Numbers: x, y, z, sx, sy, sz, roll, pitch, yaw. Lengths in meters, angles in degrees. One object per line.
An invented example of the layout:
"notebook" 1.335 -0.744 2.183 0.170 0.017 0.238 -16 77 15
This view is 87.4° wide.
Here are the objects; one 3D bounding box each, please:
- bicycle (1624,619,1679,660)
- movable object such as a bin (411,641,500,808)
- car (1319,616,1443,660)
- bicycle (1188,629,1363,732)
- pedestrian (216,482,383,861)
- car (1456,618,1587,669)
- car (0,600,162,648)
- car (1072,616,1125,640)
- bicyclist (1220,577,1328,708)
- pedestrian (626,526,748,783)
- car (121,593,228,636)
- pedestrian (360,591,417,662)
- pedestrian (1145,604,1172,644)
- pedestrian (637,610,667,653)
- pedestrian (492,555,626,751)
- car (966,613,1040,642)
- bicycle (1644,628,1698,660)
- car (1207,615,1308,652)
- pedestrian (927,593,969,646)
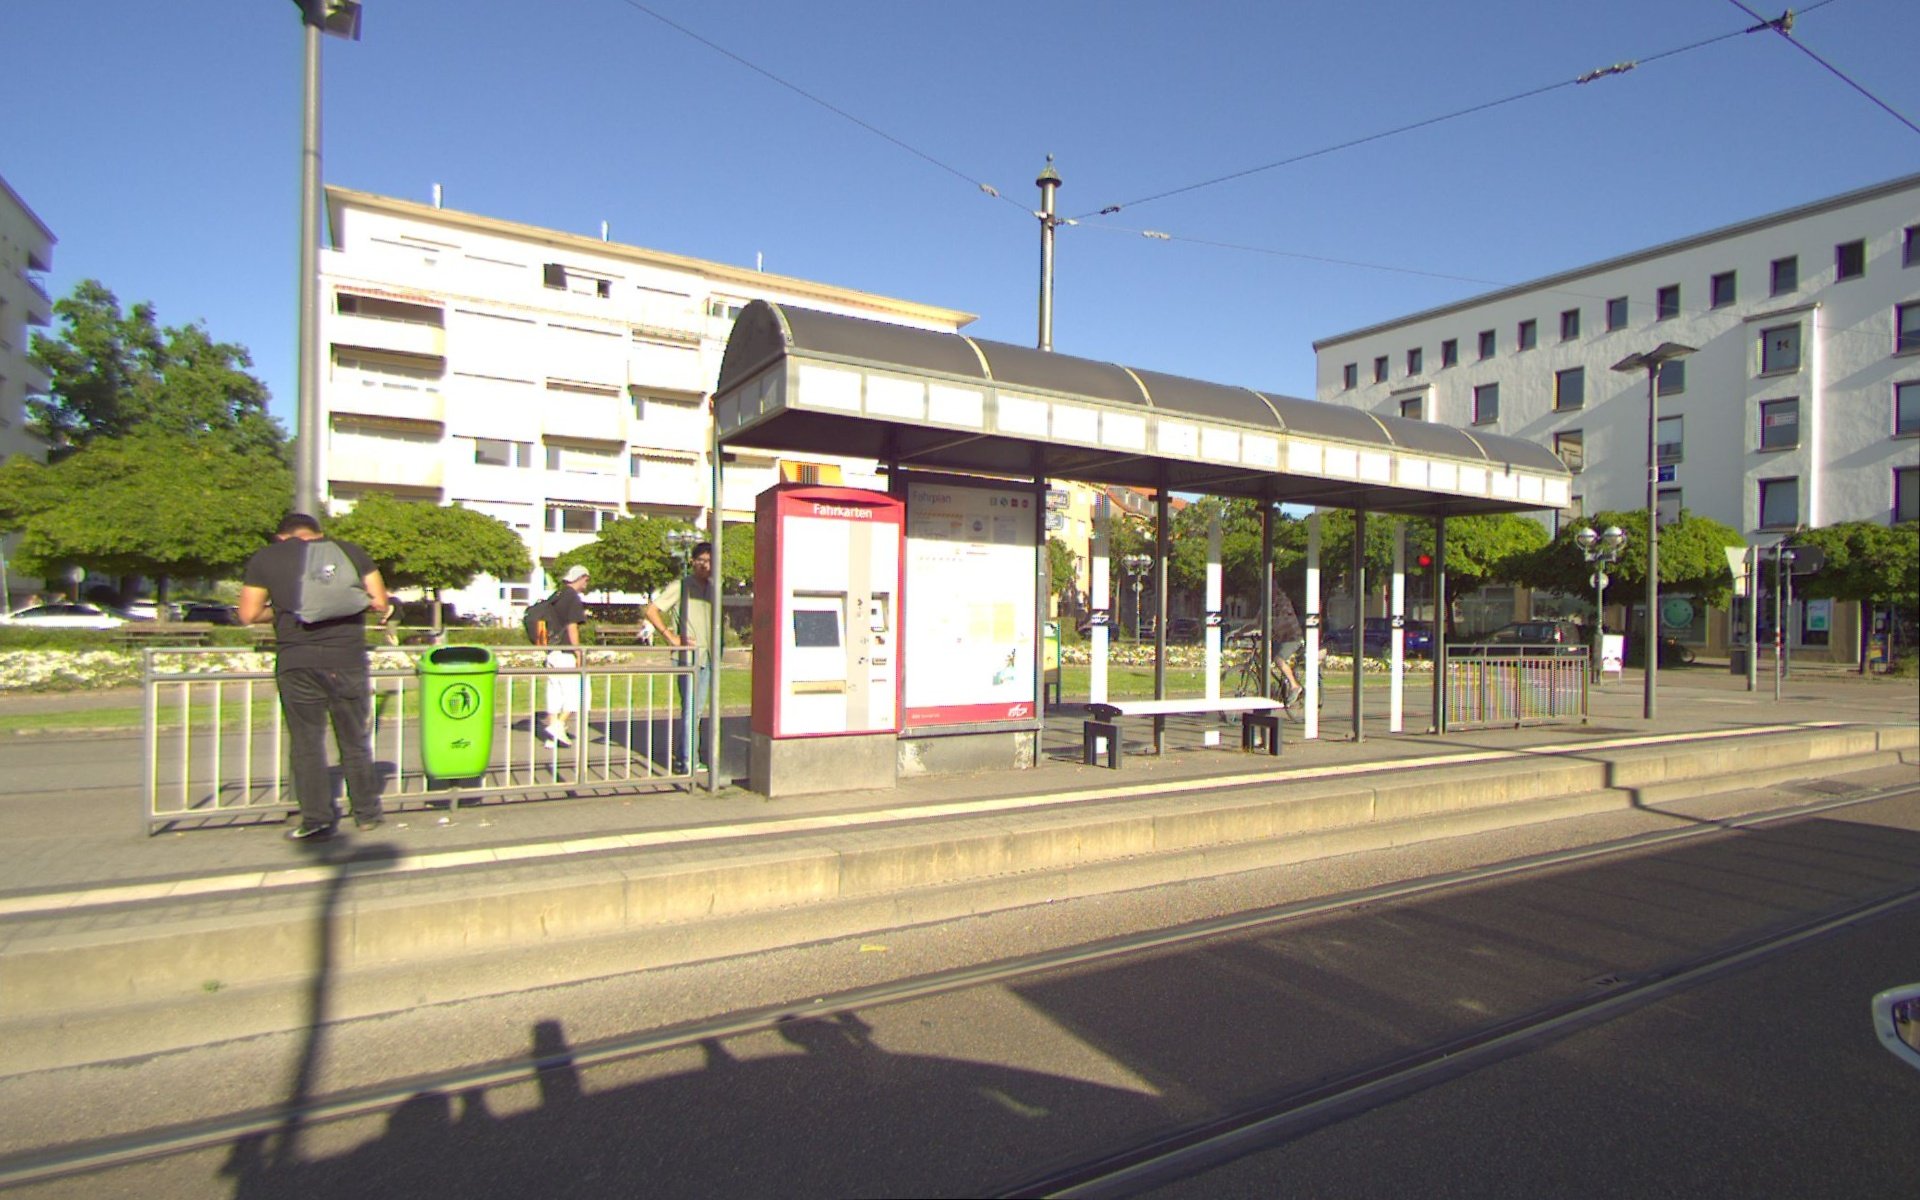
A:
"bicycle" 27.873 1.597 40.491 2.585 1.628 0.616 1 -1 -26
"movable object such as a bin" -2.785 0.667 5.551 0.411 0.871 0.335 1 -1 -27
"car" 17.854 1.574 42.817 1.978 1.684 4.581 1 -1 -31
"bicycle" 3.729 0.926 11.866 1.948 1.128 0.726 2 0 -22
"pedestrian" -3.254 0.340 4.999 0.599 1.740 0.546 1 -3 -28
"car" 21.056 1.594 37.828 1.804 1.728 3.968 1 -1 -30
"car" -25.591 0.687 29.006 3.672 1.318 1.984 1 -1 -30
"car" 9.281 1.843 67.103 1.887 1.514 4.343 2 0 31
"bicyclist" 3.693 0.494 11.852 0.864 1.475 0.826 2 0 -22
"pedestrian" -2.039 0.398 7.495 0.760 1.797 0.613 1 -3 -28
"car" -28.852 0.547 36.998 2.899 1.506 1.407 1 -1 -30
"pedestrian" -15.047 0.701 26.491 1.160 1.811 1.075 1 0 -24
"pedestrian" 9.227 1.104 46.759 0.856 1.841 0.944 1 0 -19
"pedestrian" -10.293 1.046 33.573 0.673 1.378 1.042 1 -1 -34
"pedestrian" -3.779 0.482 9.446 0.965 1.702 0.986 1 -2 -36
"car" 2.105 1.333 49.415 3.271 1.372 1.638 1 -1 -29
"bicycle" 28.199 1.751 39.847 2.586 1.206 0.615 1 -1 -27
"car" 14.142 1.577 47.941 1.835 1.628 4.581 1 -1 -31
"pedestrian" -0.476 0.777 39.463 1.219 2.040 1.214 1 -1 -30
